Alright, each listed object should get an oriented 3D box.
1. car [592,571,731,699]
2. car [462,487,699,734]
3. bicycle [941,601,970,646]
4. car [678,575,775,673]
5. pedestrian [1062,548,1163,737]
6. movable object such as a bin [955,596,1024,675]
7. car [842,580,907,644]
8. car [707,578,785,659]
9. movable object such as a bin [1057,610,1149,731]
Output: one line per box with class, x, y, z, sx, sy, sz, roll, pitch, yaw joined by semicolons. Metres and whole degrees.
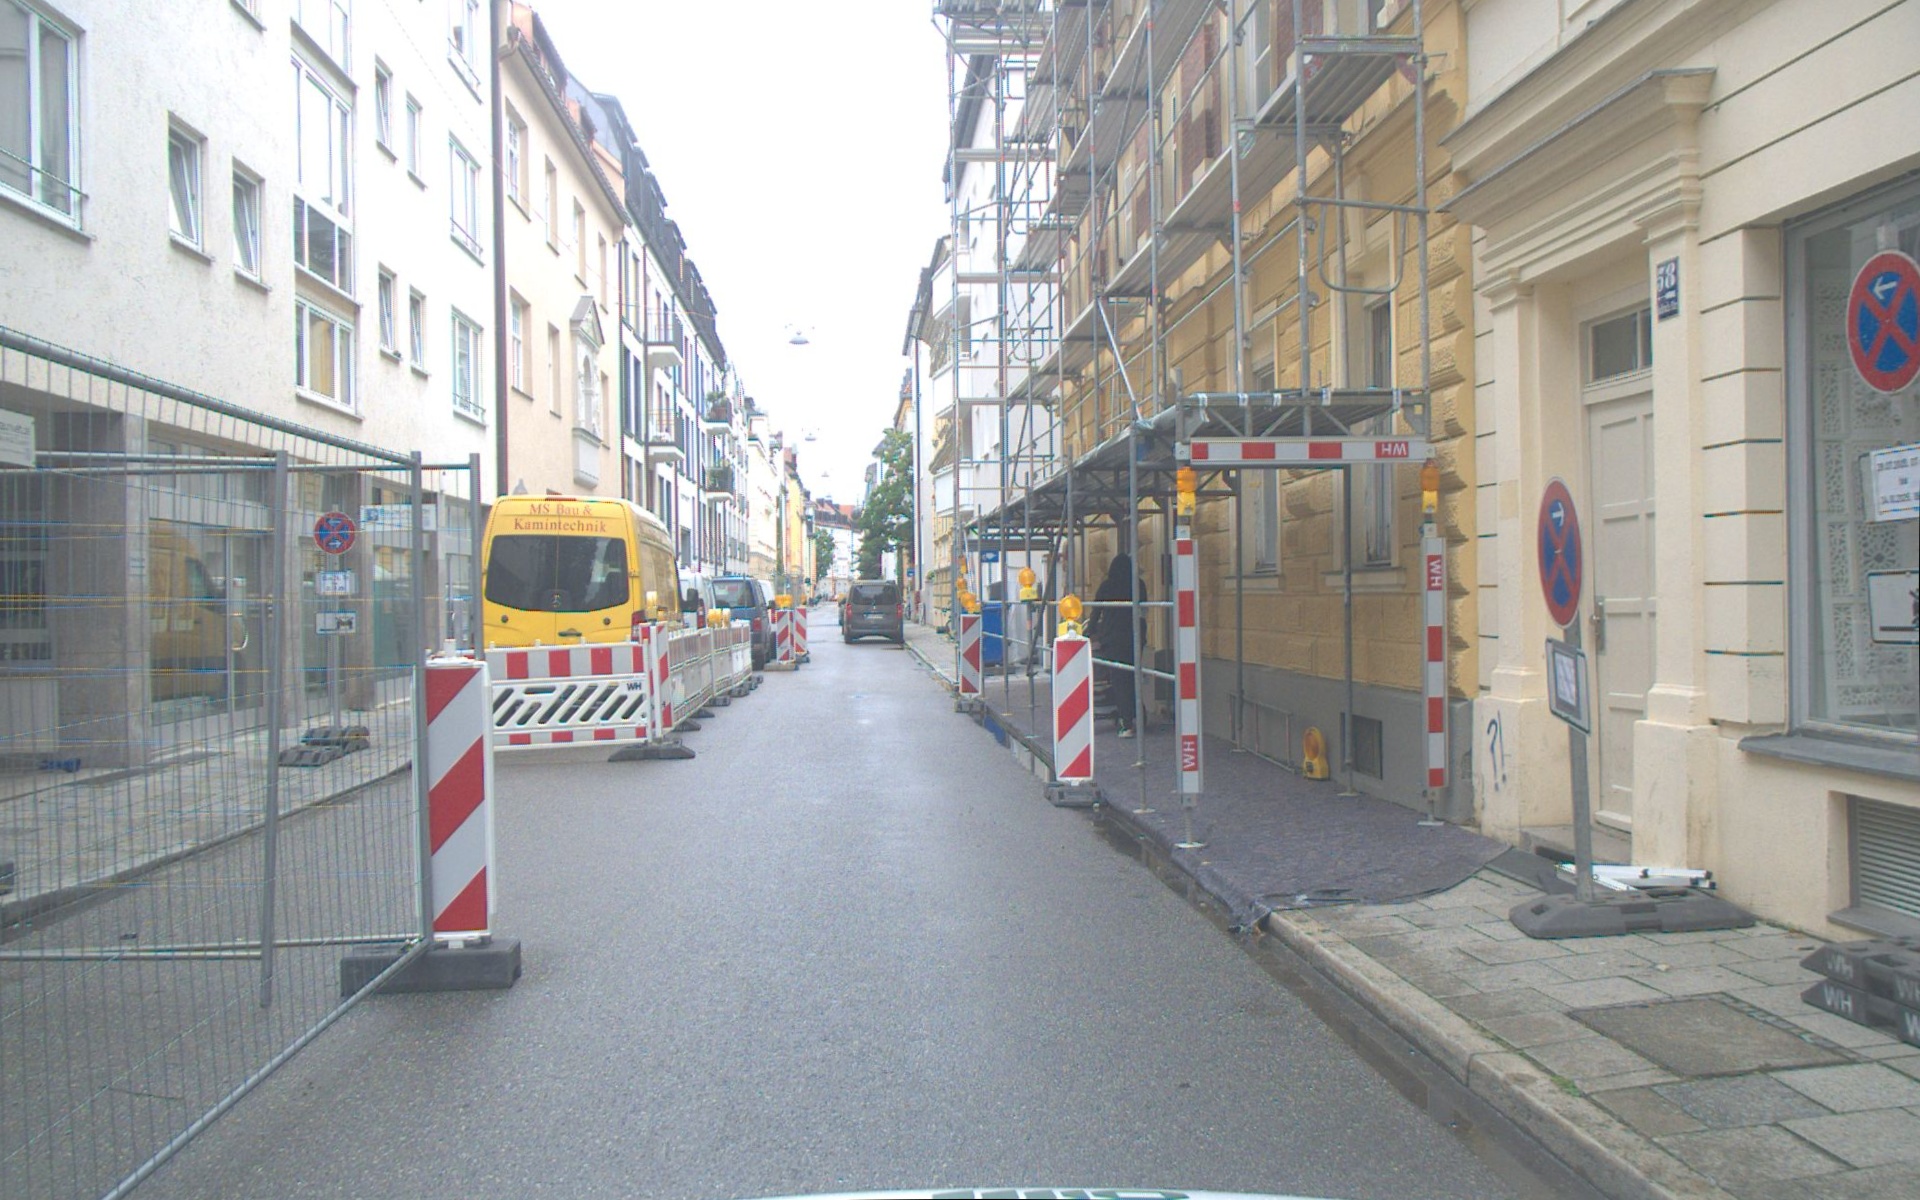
car;-5.060;0.559;28.633;1.880;1.930;4.785;-3;0;-5
car;-4.643;0.099;21.305;1.954;2.624;6.730;-2;0;-5
bicycle;-0.132;0.658;46.871;0.625;1.173;1.914;-4;1;-3
car;-5.126;0.497;36.897;1.693;1.930;5.504;-3;0;-4
pedestrian;1.521;0.411;16.608;0.715;1.782;0.987;-5;0;-5
movable object such as a bin;0.577;0.666;31.378;1.063;1.369;1.318;-4;0;8
car;-2.822;0.364;53.520;1.954;1.966;4.655;0;0;-5
car;-5.543;0.461;42.956;1.868;1.930;5.080;-1;0;-7
movable object such as a bin;1.492;0.720;17.405;0.715;1.160;0.987;-5;0;-5
